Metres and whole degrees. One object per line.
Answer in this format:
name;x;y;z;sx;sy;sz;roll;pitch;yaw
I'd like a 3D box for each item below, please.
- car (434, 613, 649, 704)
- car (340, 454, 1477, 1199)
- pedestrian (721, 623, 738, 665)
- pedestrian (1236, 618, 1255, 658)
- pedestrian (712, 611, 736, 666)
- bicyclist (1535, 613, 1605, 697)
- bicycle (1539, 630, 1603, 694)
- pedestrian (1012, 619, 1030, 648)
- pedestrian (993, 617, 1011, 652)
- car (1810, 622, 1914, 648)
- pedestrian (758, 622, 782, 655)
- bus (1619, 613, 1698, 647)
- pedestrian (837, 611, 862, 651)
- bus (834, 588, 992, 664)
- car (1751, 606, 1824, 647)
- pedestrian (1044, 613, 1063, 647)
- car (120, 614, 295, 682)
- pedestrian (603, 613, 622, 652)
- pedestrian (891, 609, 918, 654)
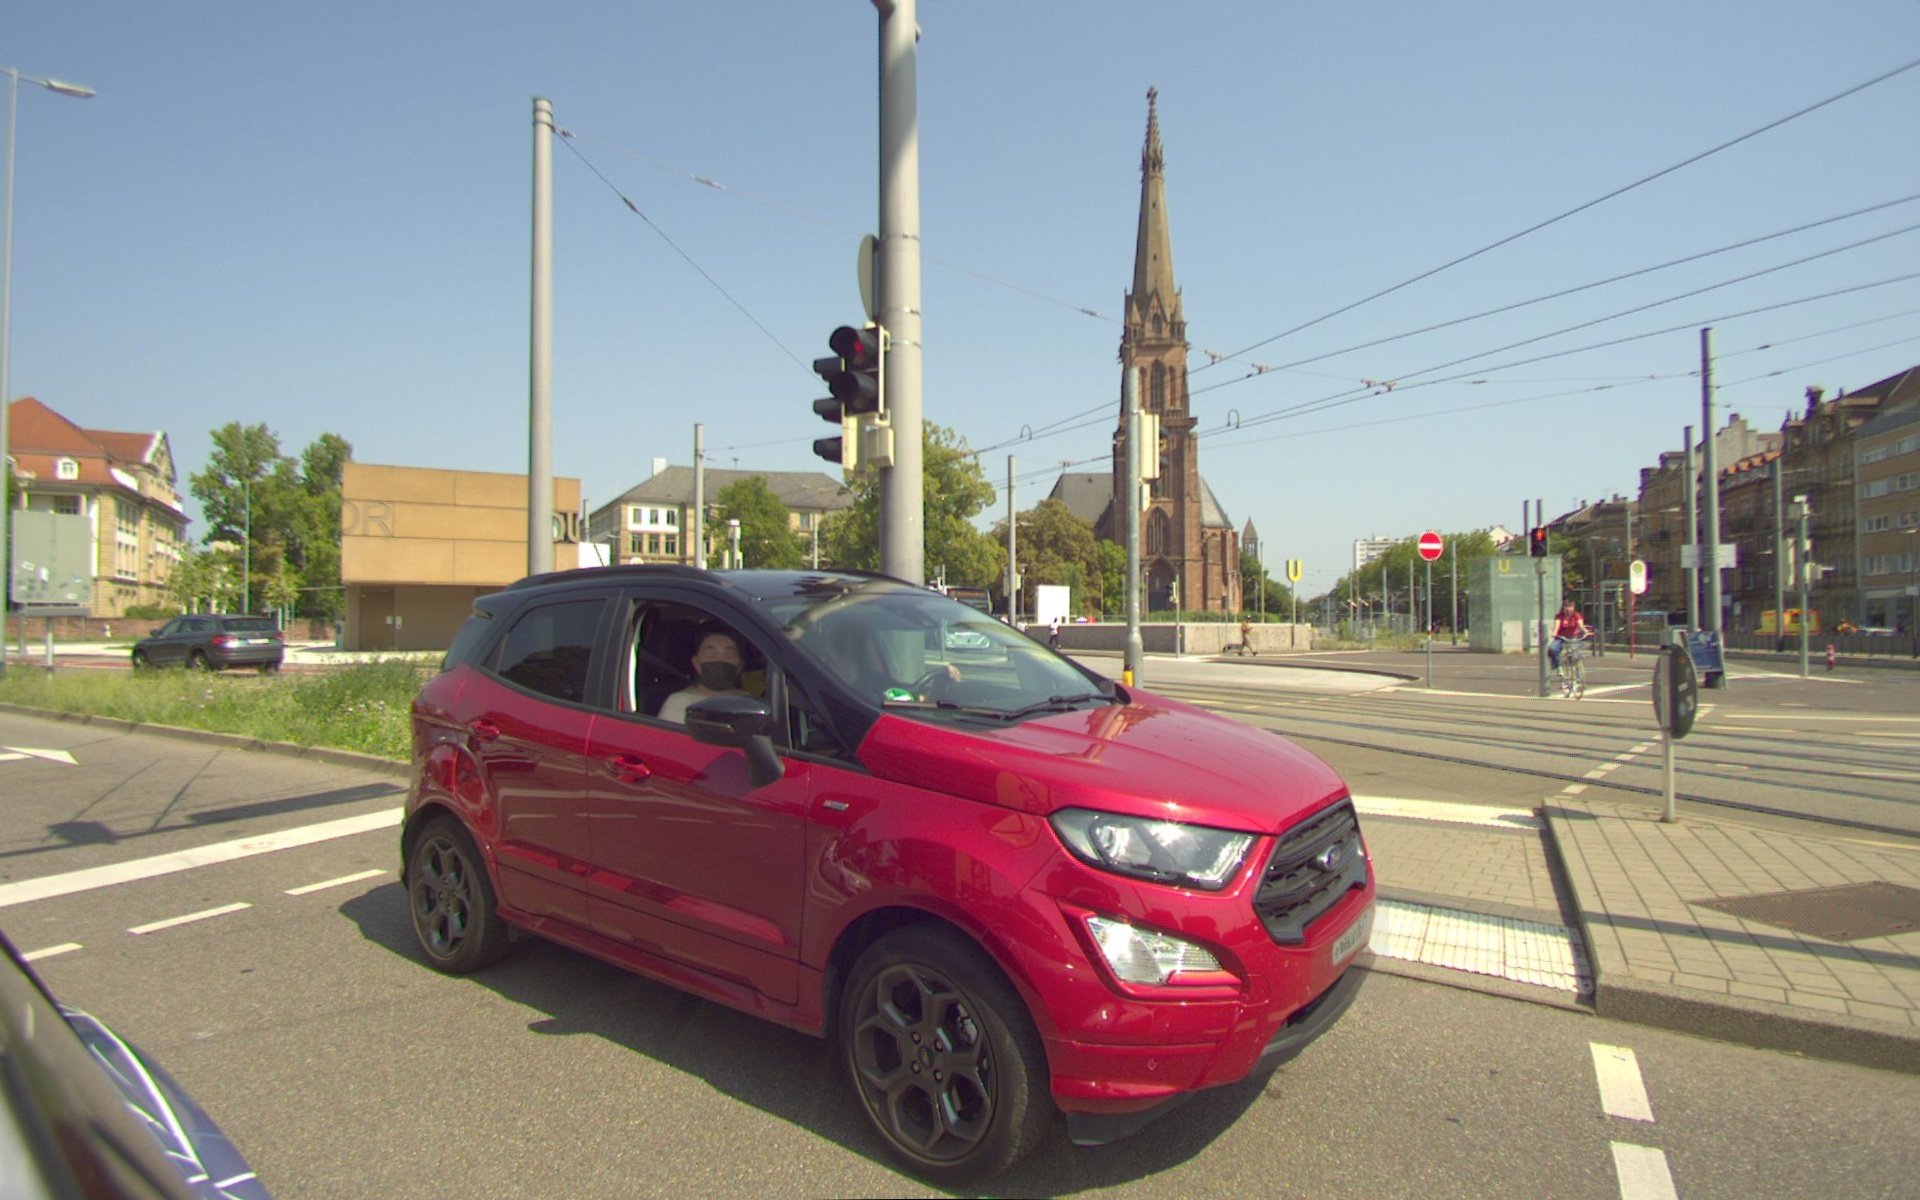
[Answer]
car;-7.702;1.040;18.611;3.687;1.532;1.664;-1;-2;27
car;-0.490;0.609;3.785;4.075;1.630;1.746;-1;-3;37
pedestrian;-7.673;1.471;33.716;0.349;1.385;0.456;-2;-2;36
pedestrian;12.135;1.600;42.976;0.566;1.671;0.801;0;0;-1
pedestrian;-7.967;1.307;34.179;0.559;1.830;0.554;-2;-2;36
bicyclist;10.964;0.972;18.228;0.871;1.470;0.973;-1;-2;21
bicycle;10.969;1.081;18.217;0.610;1.077;1.900;-1;-2;20
pedestrian;3.367;1.856;55.898;0.771;1.560;0.680;2;-3;-33
pedestrian;1.925;1.577;46.193;0.567;1.540;0.602;2;-3;-28
car;52.549;2.024;59.115;1.979;1.298;5.525;-1;0;12
pedestrian;-10.261;2.074;54.638;0.953;1.793;0.779;-1;-3;23
bus;67.133;2.950;97.644;2.520;3.055;12.365;-1;-2;17
pedestrian;-5.061;1.442;46.291;0.779;1.793;0.953;-1;-3;20
bus;-2.757;1.306;51.263;2.631;3.356;12.798;1;-2;-29
car;60.466;1.951;74.087;2.290;2.910;5.560;-2;-2;20
pedestrian;4.883;1.580;52.838;0.771;1.741;0.680;1;-2;-33
car;-19.835;1.237;26.657;4.634;1.665;1.885;-1;-2;28
pedestrian;-14.985;1.392;43.629;0.508;1.658;0.567;-1;0;20
pedestrian;-2.269;1.304;41.298;0.779;1.793;0.953;-1;-3;20
